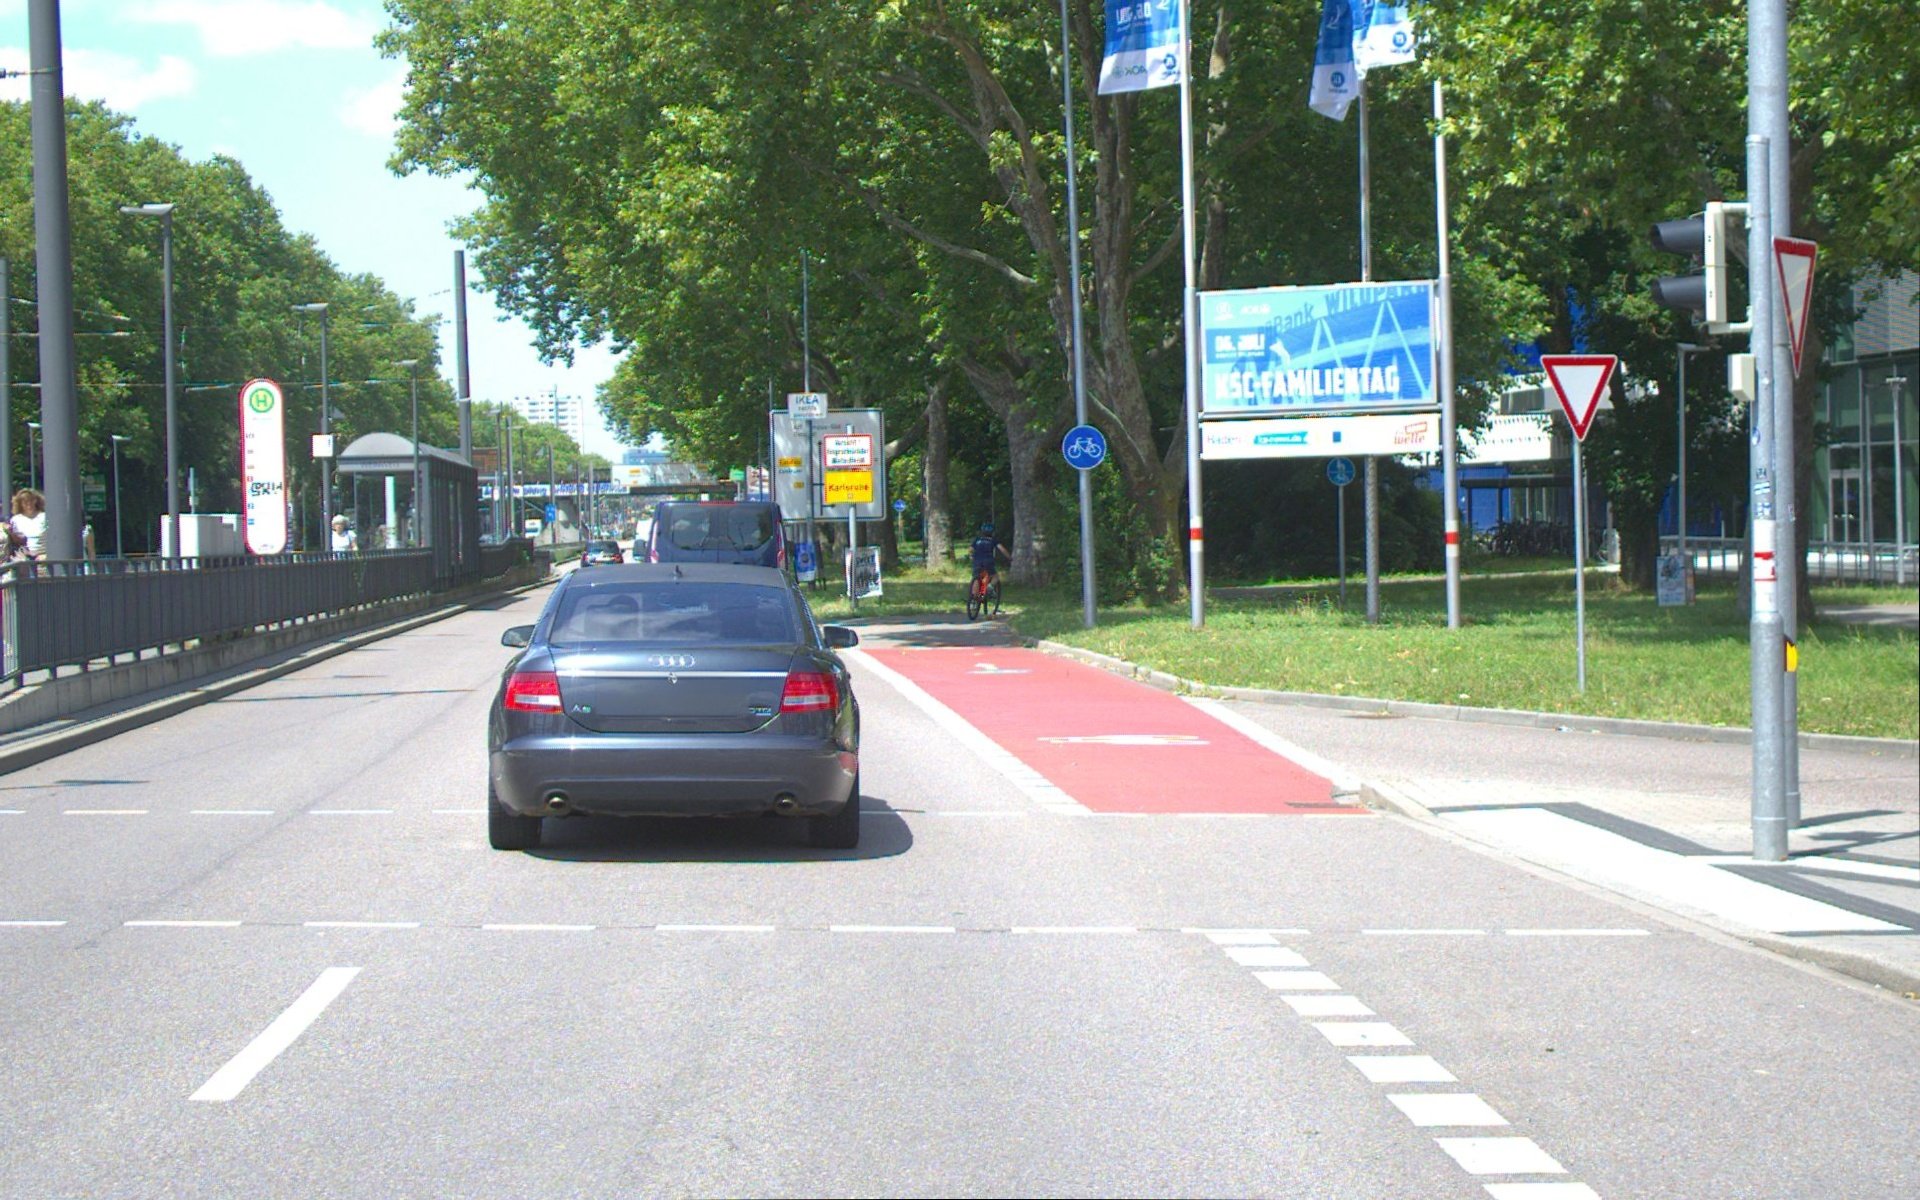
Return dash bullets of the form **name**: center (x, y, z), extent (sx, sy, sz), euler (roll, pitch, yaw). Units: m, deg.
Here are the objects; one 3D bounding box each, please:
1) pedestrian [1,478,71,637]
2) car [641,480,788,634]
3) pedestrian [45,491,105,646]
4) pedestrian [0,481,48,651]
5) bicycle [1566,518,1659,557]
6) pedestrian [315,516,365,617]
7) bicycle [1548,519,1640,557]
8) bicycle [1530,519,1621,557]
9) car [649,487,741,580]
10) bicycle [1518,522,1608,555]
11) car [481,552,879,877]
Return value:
- **pedestrian**: center (-9.810, -0.452, 36.519), extent (0.613, 1.675, 0.720), euler (0, 1, -6)
- **car**: center (-3.236, -0.583, 45.939), extent (1.848, 1.953, 4.145), euler (0, 1, -3)
- **pedestrian**: center (-9.077, -0.322, 35.268), extent (0.497, 1.572, 0.557), euler (-1, 1, -6)
- **pedestrian**: center (-9.294, -0.330, 32.977), extent (0.890, 1.599, 0.924), euler (0, 1, -5)
- **bicycle**: center (18.878, -1.809, 99.510), extent (2.545, 1.107, 0.759), euler (0, 1, -9)
- **pedestrian**: center (-10.295, -0.565, 57.091), extent (0.732, 1.660, 0.742), euler (0, 1, -5)
- **bicycle**: center (18.541, -1.823, 100.565), extent (2.545, 1.107, 0.759), euler (0, 1, -9)
- **bicycle**: center (18.232, -1.839, 101.793), extent (2.545, 1.107, 0.759), euler (0, 1, -9)
- **car**: center (-5.722, -1.428, 74.504), extent (1.848, 1.953, 4.145), euler (0, 1, -3)
- **bicycle**: center (18.073, -1.853, 103.055), extent (2.545, 0.967, 0.759), euler (0, 1, -9)
- **car**: center (-1.566, 0.500, 17.951), extent (1.842, 1.479, 4.001), euler (0, 1, -8)
